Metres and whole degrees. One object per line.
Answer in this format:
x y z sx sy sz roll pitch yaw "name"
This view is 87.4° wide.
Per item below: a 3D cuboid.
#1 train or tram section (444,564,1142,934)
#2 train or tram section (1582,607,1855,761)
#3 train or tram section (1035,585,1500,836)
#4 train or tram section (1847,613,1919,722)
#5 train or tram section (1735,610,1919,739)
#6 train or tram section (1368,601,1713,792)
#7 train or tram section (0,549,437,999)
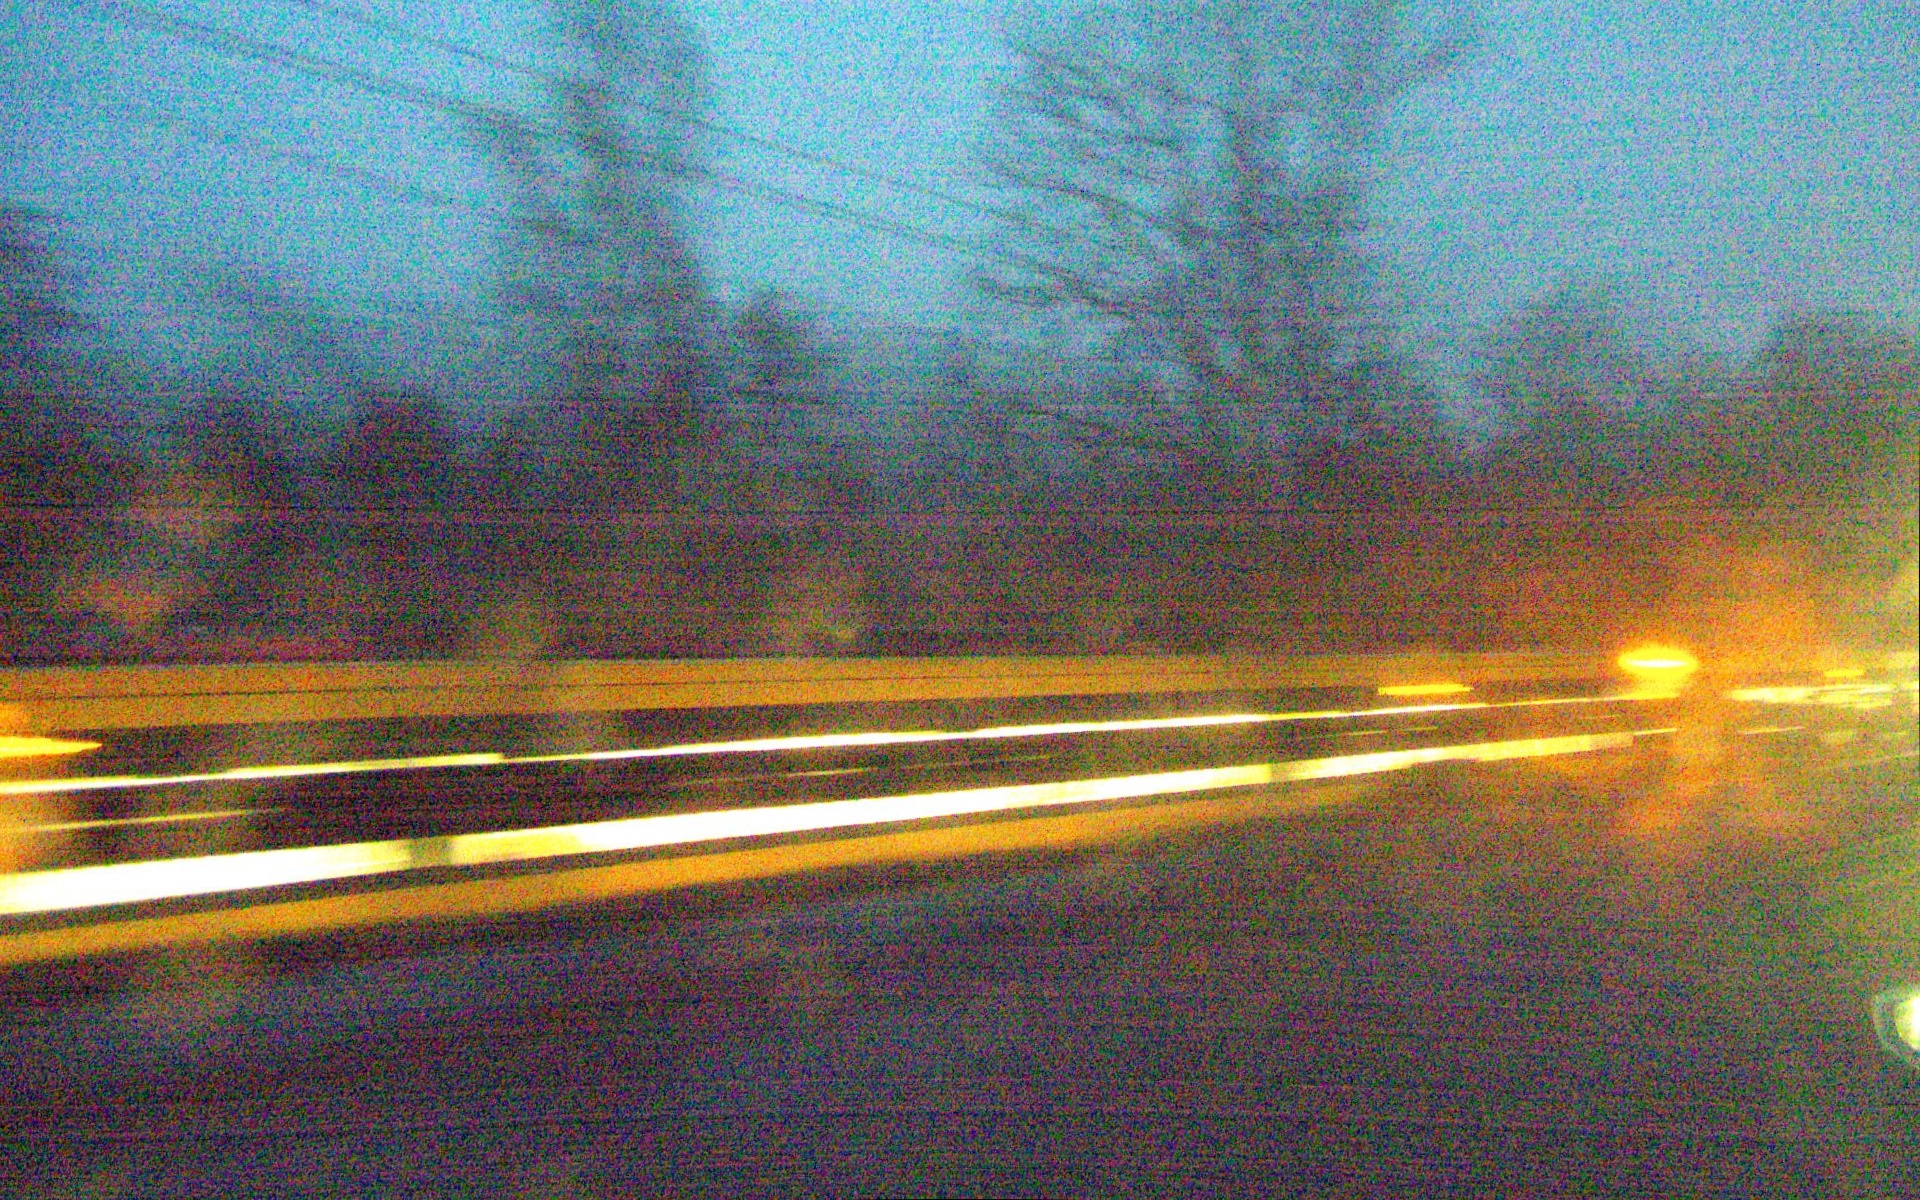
-1.804 1.489 12.957 8.455 3.506 2.829 1 -1 -31 "train or tram section"
20.014 2.004 26.325 8.455 3.506 2.829 1 -1 -31 "train or tram section"
5.573 1.616 17.434 8.455 3.506 2.829 1 -1 -31 "train or tram section"
34.474 2.256 35.137 8.455 3.506 2.829 1 -1 -31 "train or tram section"
27.256 2.108 30.702 8.455 3.506 2.829 1 -1 -31 "train or tram section"
12.817 1.852 21.889 8.455 3.506 2.829 1 -1 -31 "train or tram section"
-9.236 1.344 8.411 8.455 3.506 2.829 1 -1 -31 "train or tram section"
